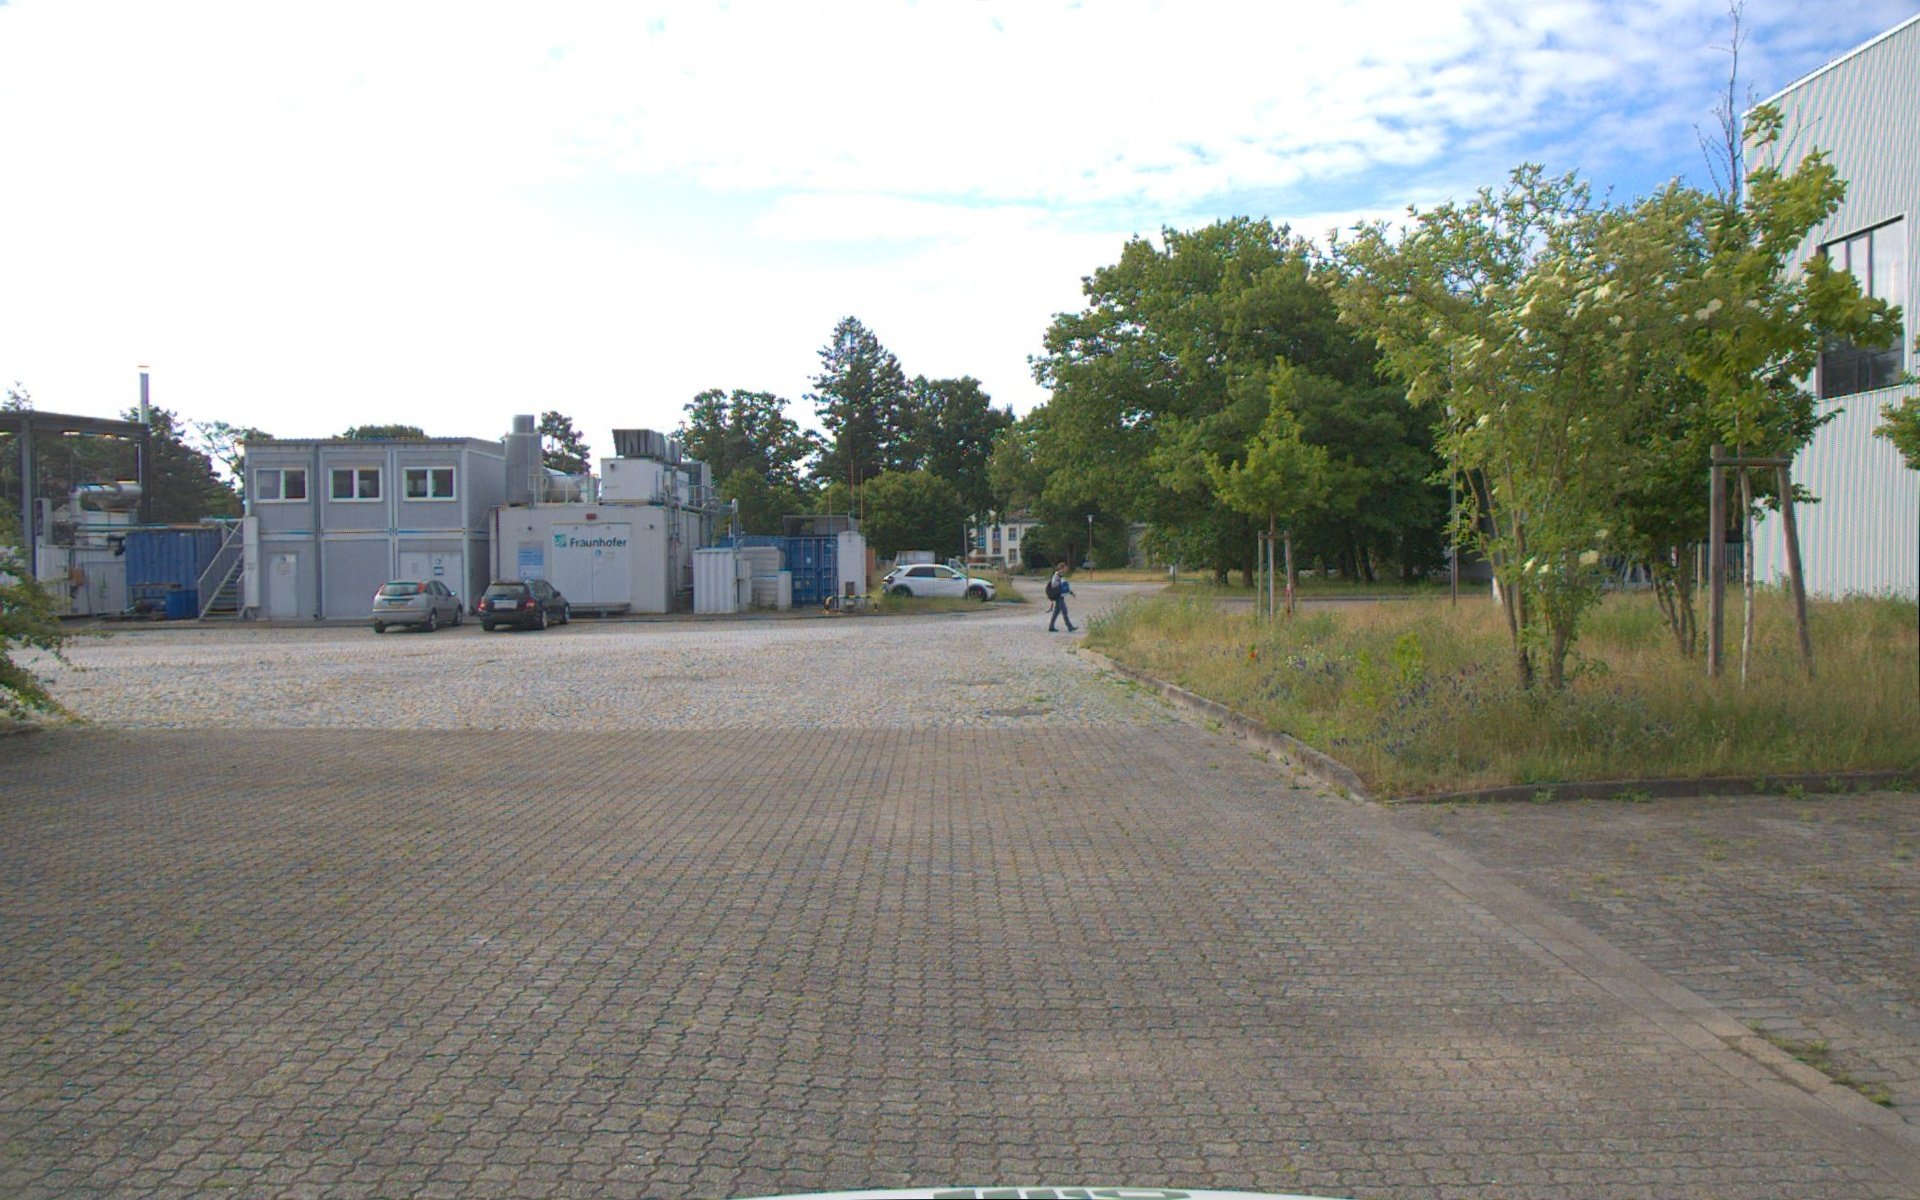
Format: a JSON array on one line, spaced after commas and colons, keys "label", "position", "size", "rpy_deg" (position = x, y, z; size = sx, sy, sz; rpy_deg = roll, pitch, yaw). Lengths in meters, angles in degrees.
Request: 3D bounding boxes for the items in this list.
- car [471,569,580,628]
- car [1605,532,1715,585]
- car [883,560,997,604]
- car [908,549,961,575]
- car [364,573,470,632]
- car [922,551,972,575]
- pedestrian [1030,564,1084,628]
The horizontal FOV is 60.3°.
[{"label": "car", "position": [-12.678, -0.073, 48.556], "size": [1.995, 1.478, 4.530], "rpy_deg": [-1, 3, 0]}, {"label": "car", "position": [29.060, -1.718, 68.882], "size": [2.196, 2.048, 5.336], "rpy_deg": [-1, 1, -1]}, {"label": "car", "position": [-0.761, -0.720, 65.792], "size": [4.440, 1.627, 2.001], "rpy_deg": [-1, 1, 2]}, {"label": "car", "position": [-2.420, -3.584, 157.777], "size": [5.065, 2.378, 2.000], "rpy_deg": [-1, 1, -1]}, {"label": "car", "position": [-15.889, 0.034, 48.571], "size": [1.868, 1.501, 4.046], "rpy_deg": [-1, 2, -2]}, {"label": "car", "position": [-1.322, -3.726, 167.349], "size": [5.065, 2.378, 2.000], "rpy_deg": [-1, 1, -1]}, {"label": "pedestrian", "position": [2.462, -0.109, 41.923], "size": [1.053, 1.583, 1.075], "rpy_deg": [-1, 1, 23]}]
